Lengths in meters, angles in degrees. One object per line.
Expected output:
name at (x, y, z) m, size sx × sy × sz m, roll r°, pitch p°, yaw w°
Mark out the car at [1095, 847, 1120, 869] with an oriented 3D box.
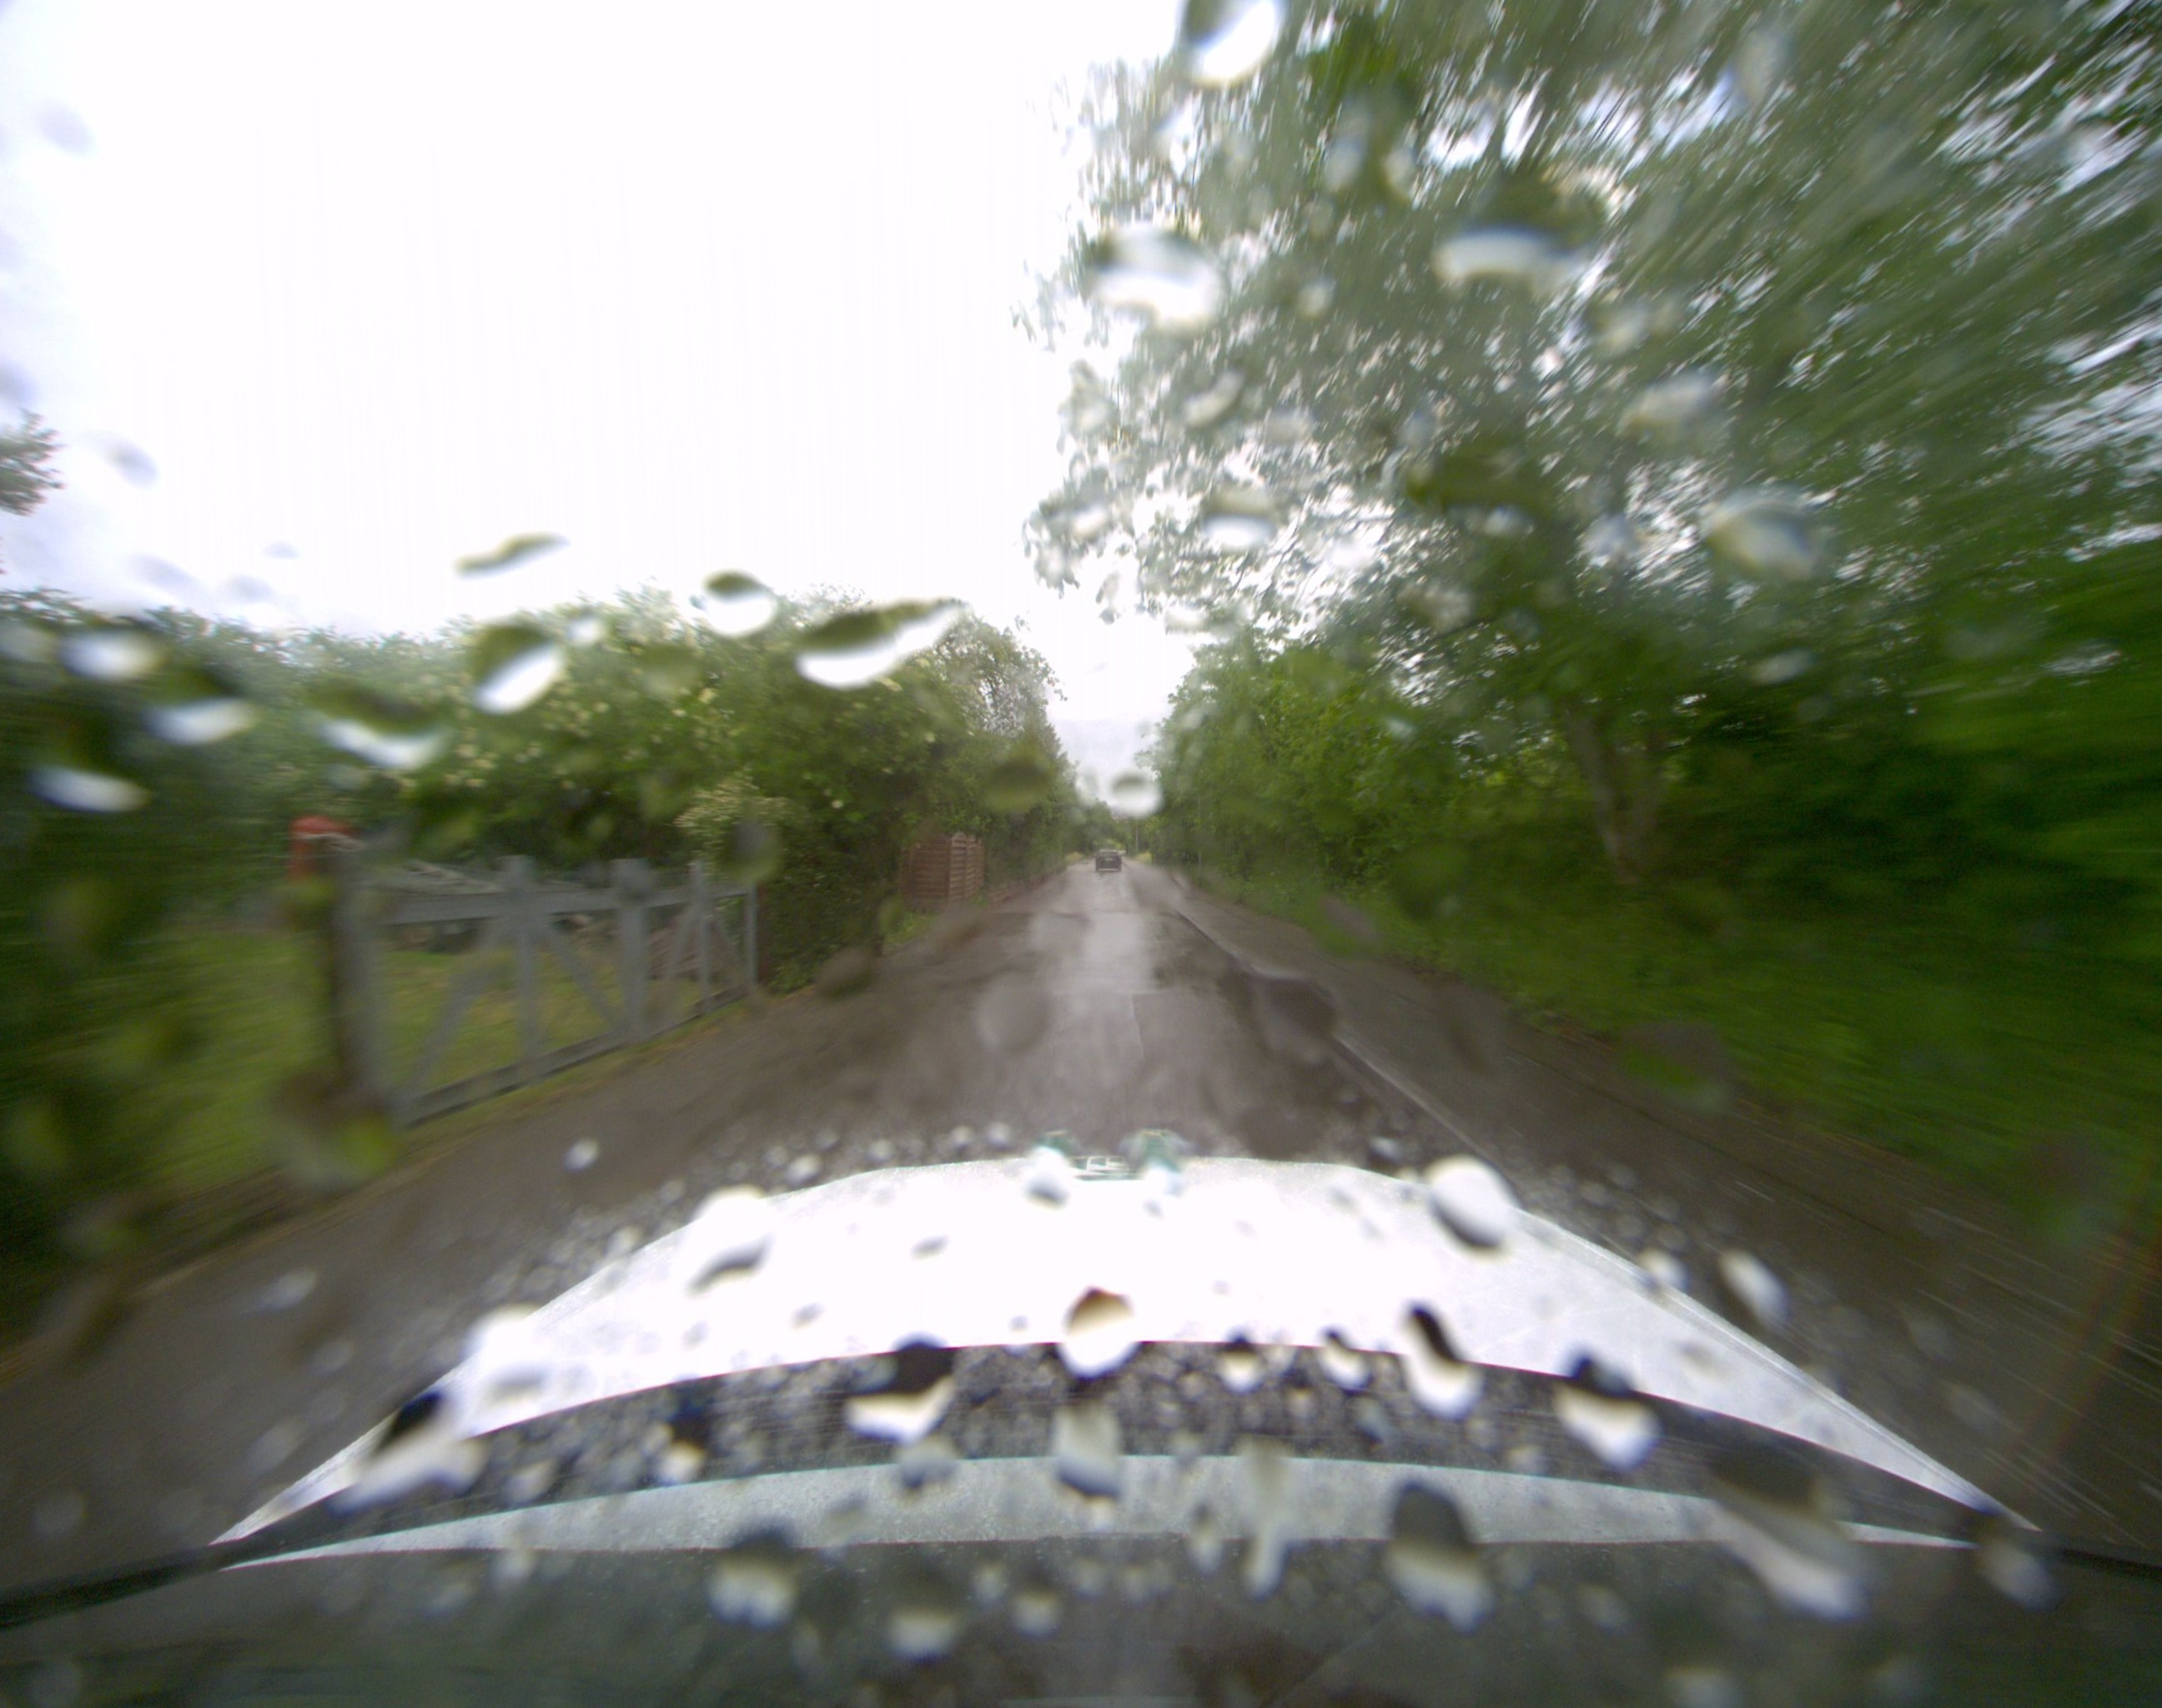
car at (1.824, 0.292, 55.511) m, size 1.628 × 1.450 × 3.547 m, roll -1°, pitch -1°, yaw 3°
